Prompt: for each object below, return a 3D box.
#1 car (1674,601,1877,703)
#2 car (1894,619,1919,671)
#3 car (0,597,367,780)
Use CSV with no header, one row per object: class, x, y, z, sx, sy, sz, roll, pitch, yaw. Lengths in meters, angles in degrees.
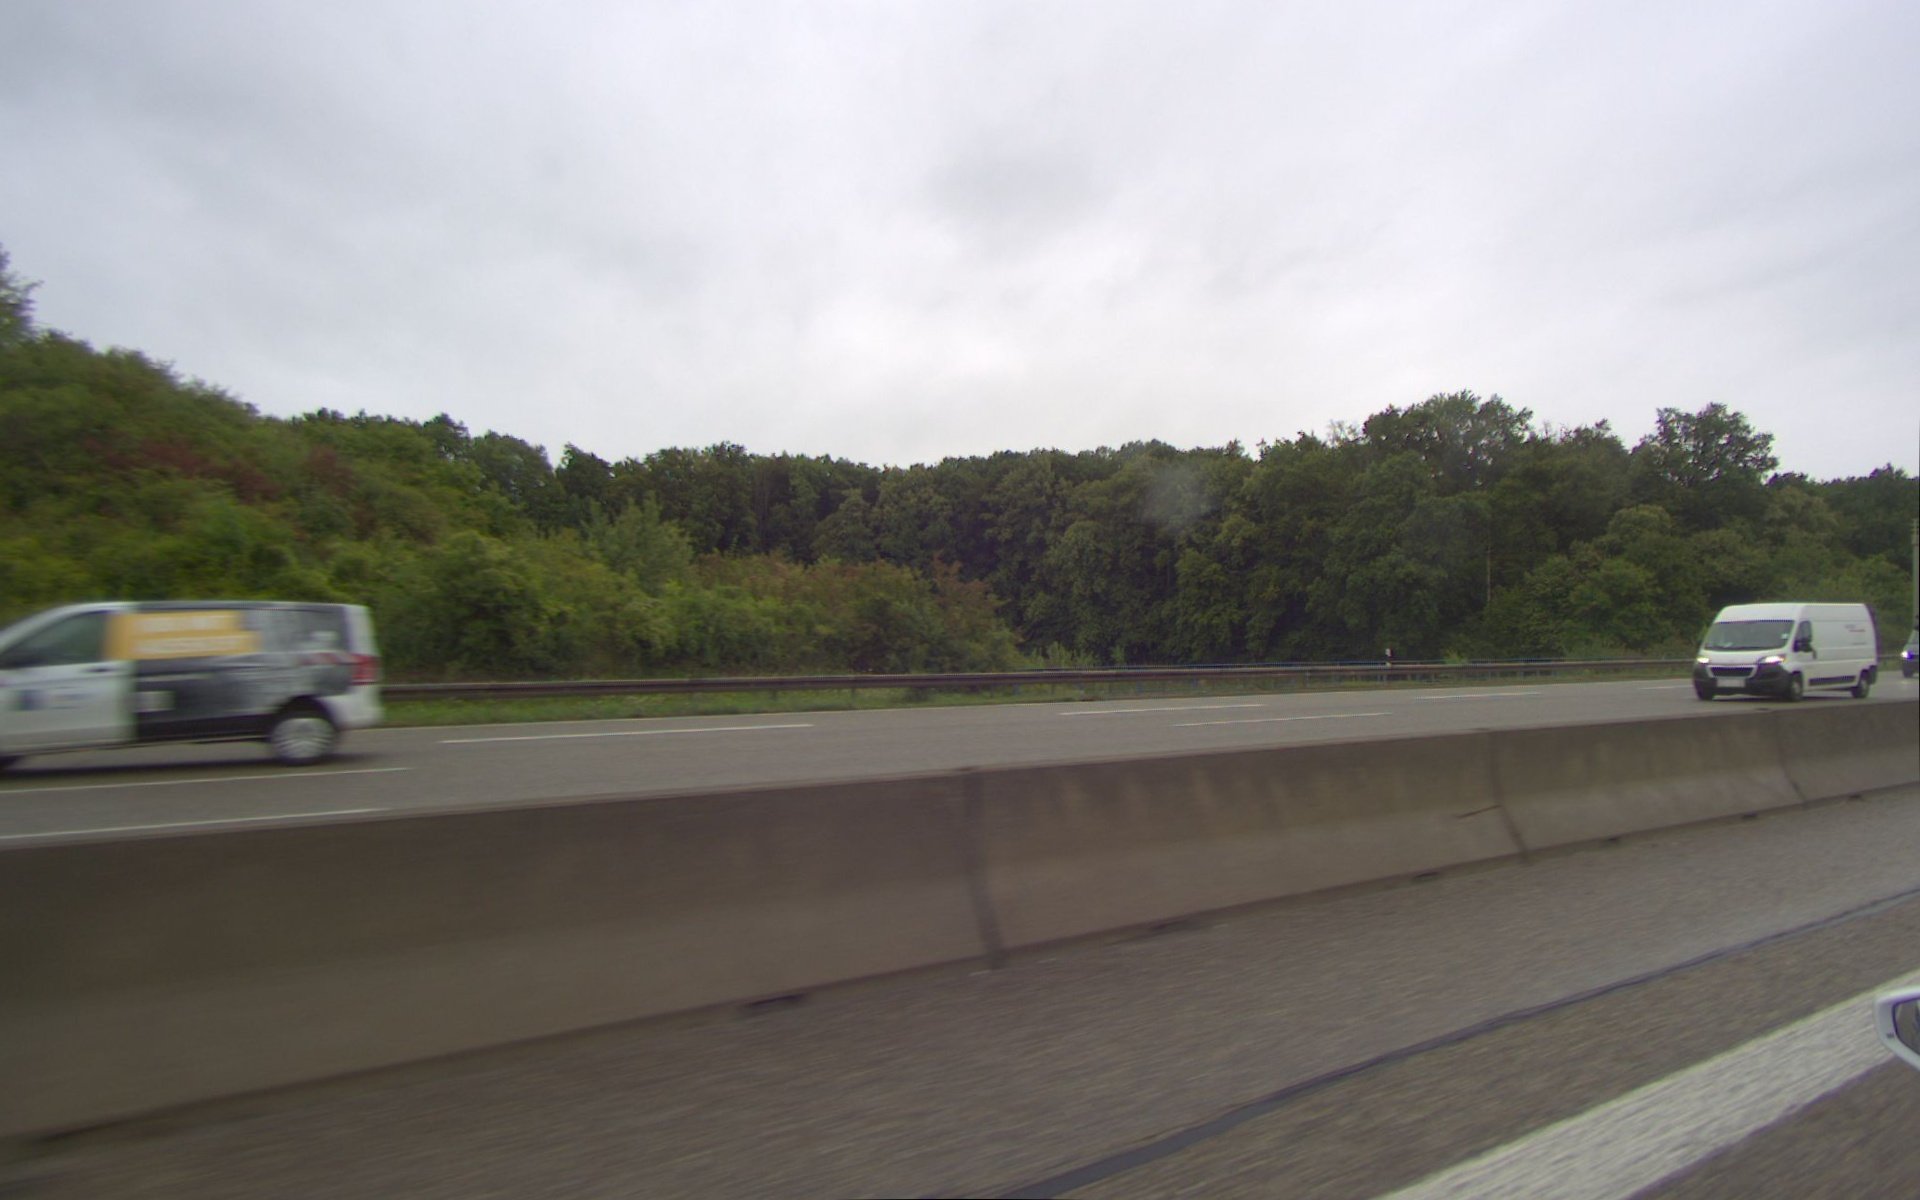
car,21.154,1.300,25.972,6.107,2.362,2.264,2,-2,-32
car,42.911,1.950,43.435,6.342,2.196,1.984,1,-2,-31
car,-9.671,0.981,11.903,4.477,1.929,1.734,1,-2,-30
